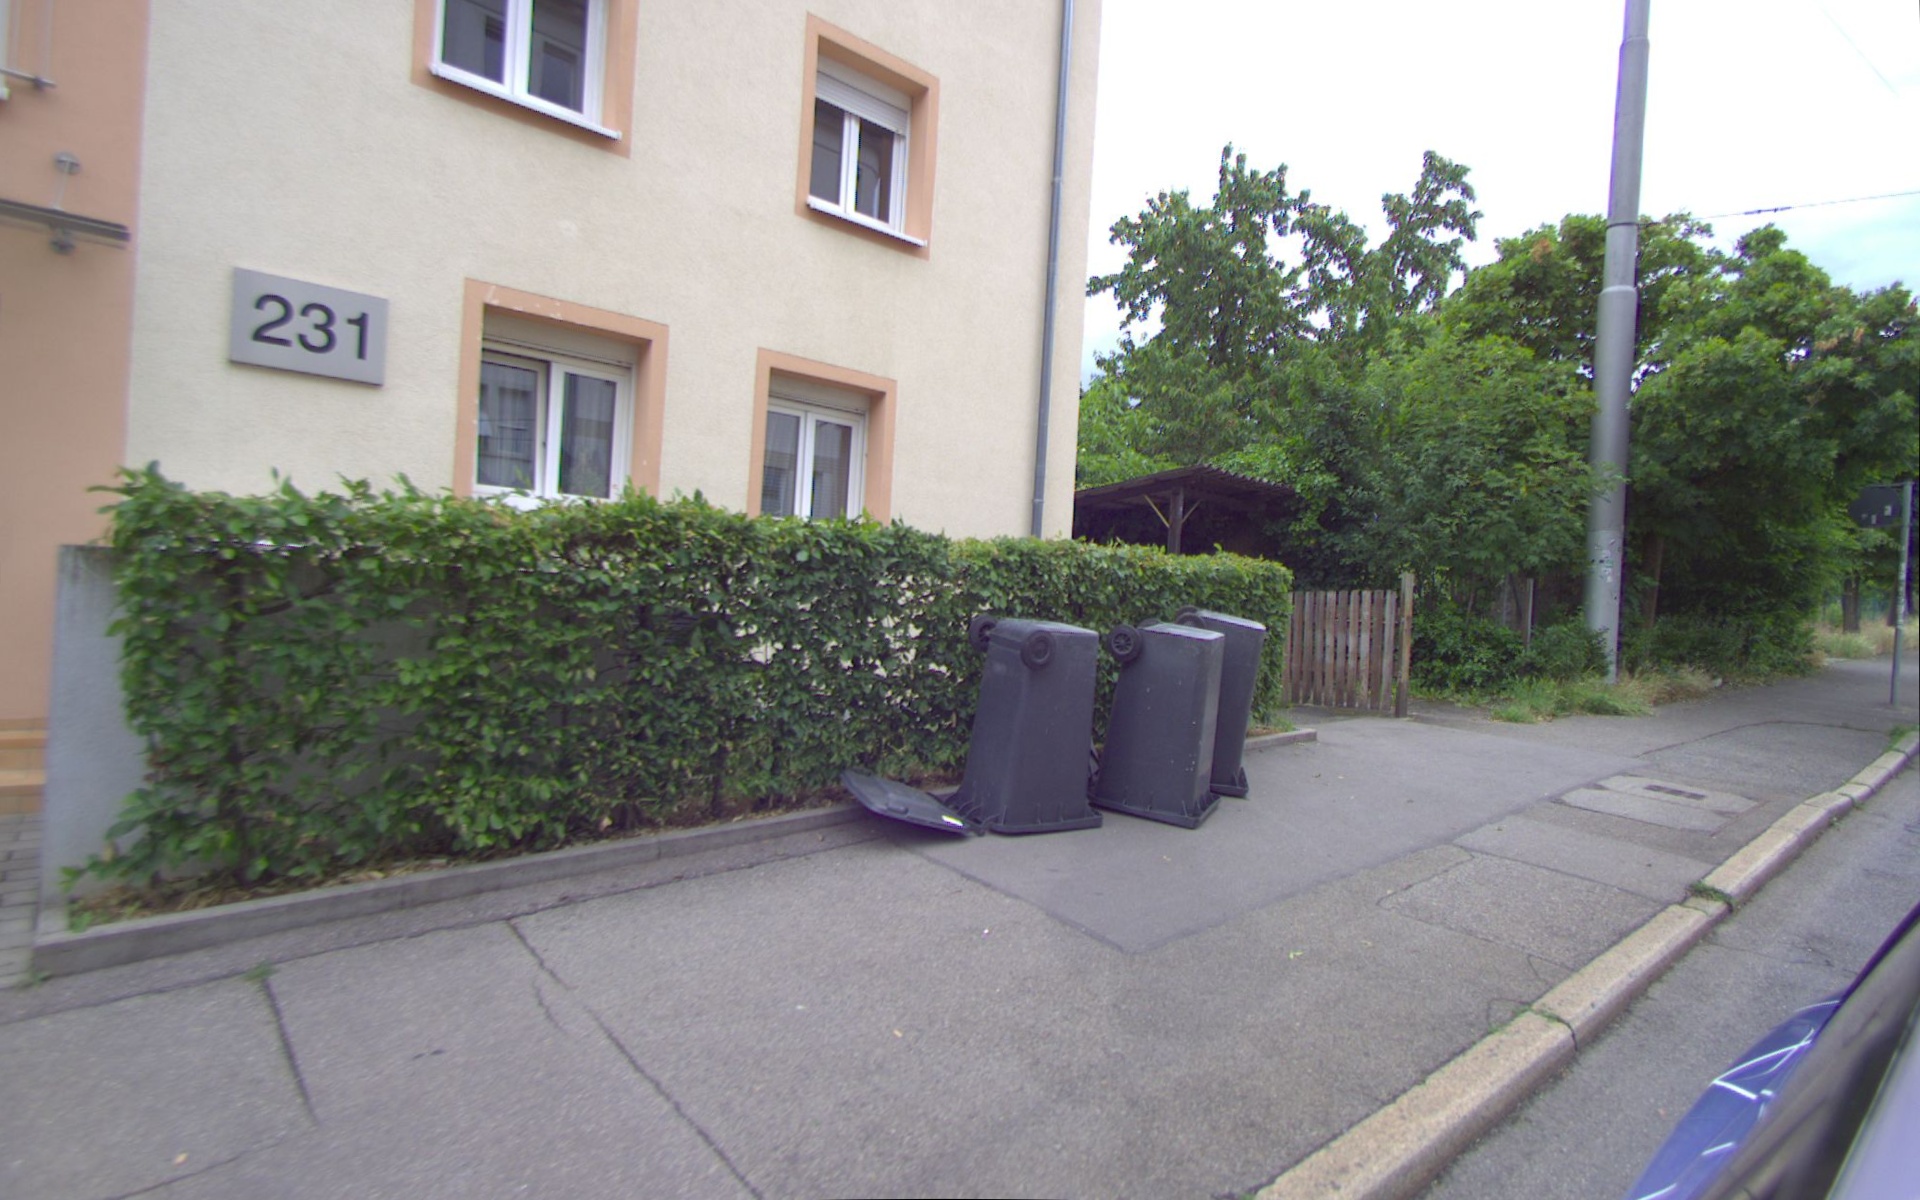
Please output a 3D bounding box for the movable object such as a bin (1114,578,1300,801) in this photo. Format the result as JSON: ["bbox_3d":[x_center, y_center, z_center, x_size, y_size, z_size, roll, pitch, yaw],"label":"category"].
[{"bbox_3d":[1.522,0.495,6.250,0.776,1.233,0.792,0,2,-44],"label":"movable object such as a bin"}]

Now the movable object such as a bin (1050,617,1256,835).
[{"bbox_3d":[1.065,0.637,5.586,0.776,1.024,0.792,0,2,-44],"label":"movable object such as a bin"}]

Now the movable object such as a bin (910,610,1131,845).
[{"bbox_3d":[0.300,0.590,5.181,0.775,1.024,0.794,0,2,-39],"label":"movable object such as a bin"}]
